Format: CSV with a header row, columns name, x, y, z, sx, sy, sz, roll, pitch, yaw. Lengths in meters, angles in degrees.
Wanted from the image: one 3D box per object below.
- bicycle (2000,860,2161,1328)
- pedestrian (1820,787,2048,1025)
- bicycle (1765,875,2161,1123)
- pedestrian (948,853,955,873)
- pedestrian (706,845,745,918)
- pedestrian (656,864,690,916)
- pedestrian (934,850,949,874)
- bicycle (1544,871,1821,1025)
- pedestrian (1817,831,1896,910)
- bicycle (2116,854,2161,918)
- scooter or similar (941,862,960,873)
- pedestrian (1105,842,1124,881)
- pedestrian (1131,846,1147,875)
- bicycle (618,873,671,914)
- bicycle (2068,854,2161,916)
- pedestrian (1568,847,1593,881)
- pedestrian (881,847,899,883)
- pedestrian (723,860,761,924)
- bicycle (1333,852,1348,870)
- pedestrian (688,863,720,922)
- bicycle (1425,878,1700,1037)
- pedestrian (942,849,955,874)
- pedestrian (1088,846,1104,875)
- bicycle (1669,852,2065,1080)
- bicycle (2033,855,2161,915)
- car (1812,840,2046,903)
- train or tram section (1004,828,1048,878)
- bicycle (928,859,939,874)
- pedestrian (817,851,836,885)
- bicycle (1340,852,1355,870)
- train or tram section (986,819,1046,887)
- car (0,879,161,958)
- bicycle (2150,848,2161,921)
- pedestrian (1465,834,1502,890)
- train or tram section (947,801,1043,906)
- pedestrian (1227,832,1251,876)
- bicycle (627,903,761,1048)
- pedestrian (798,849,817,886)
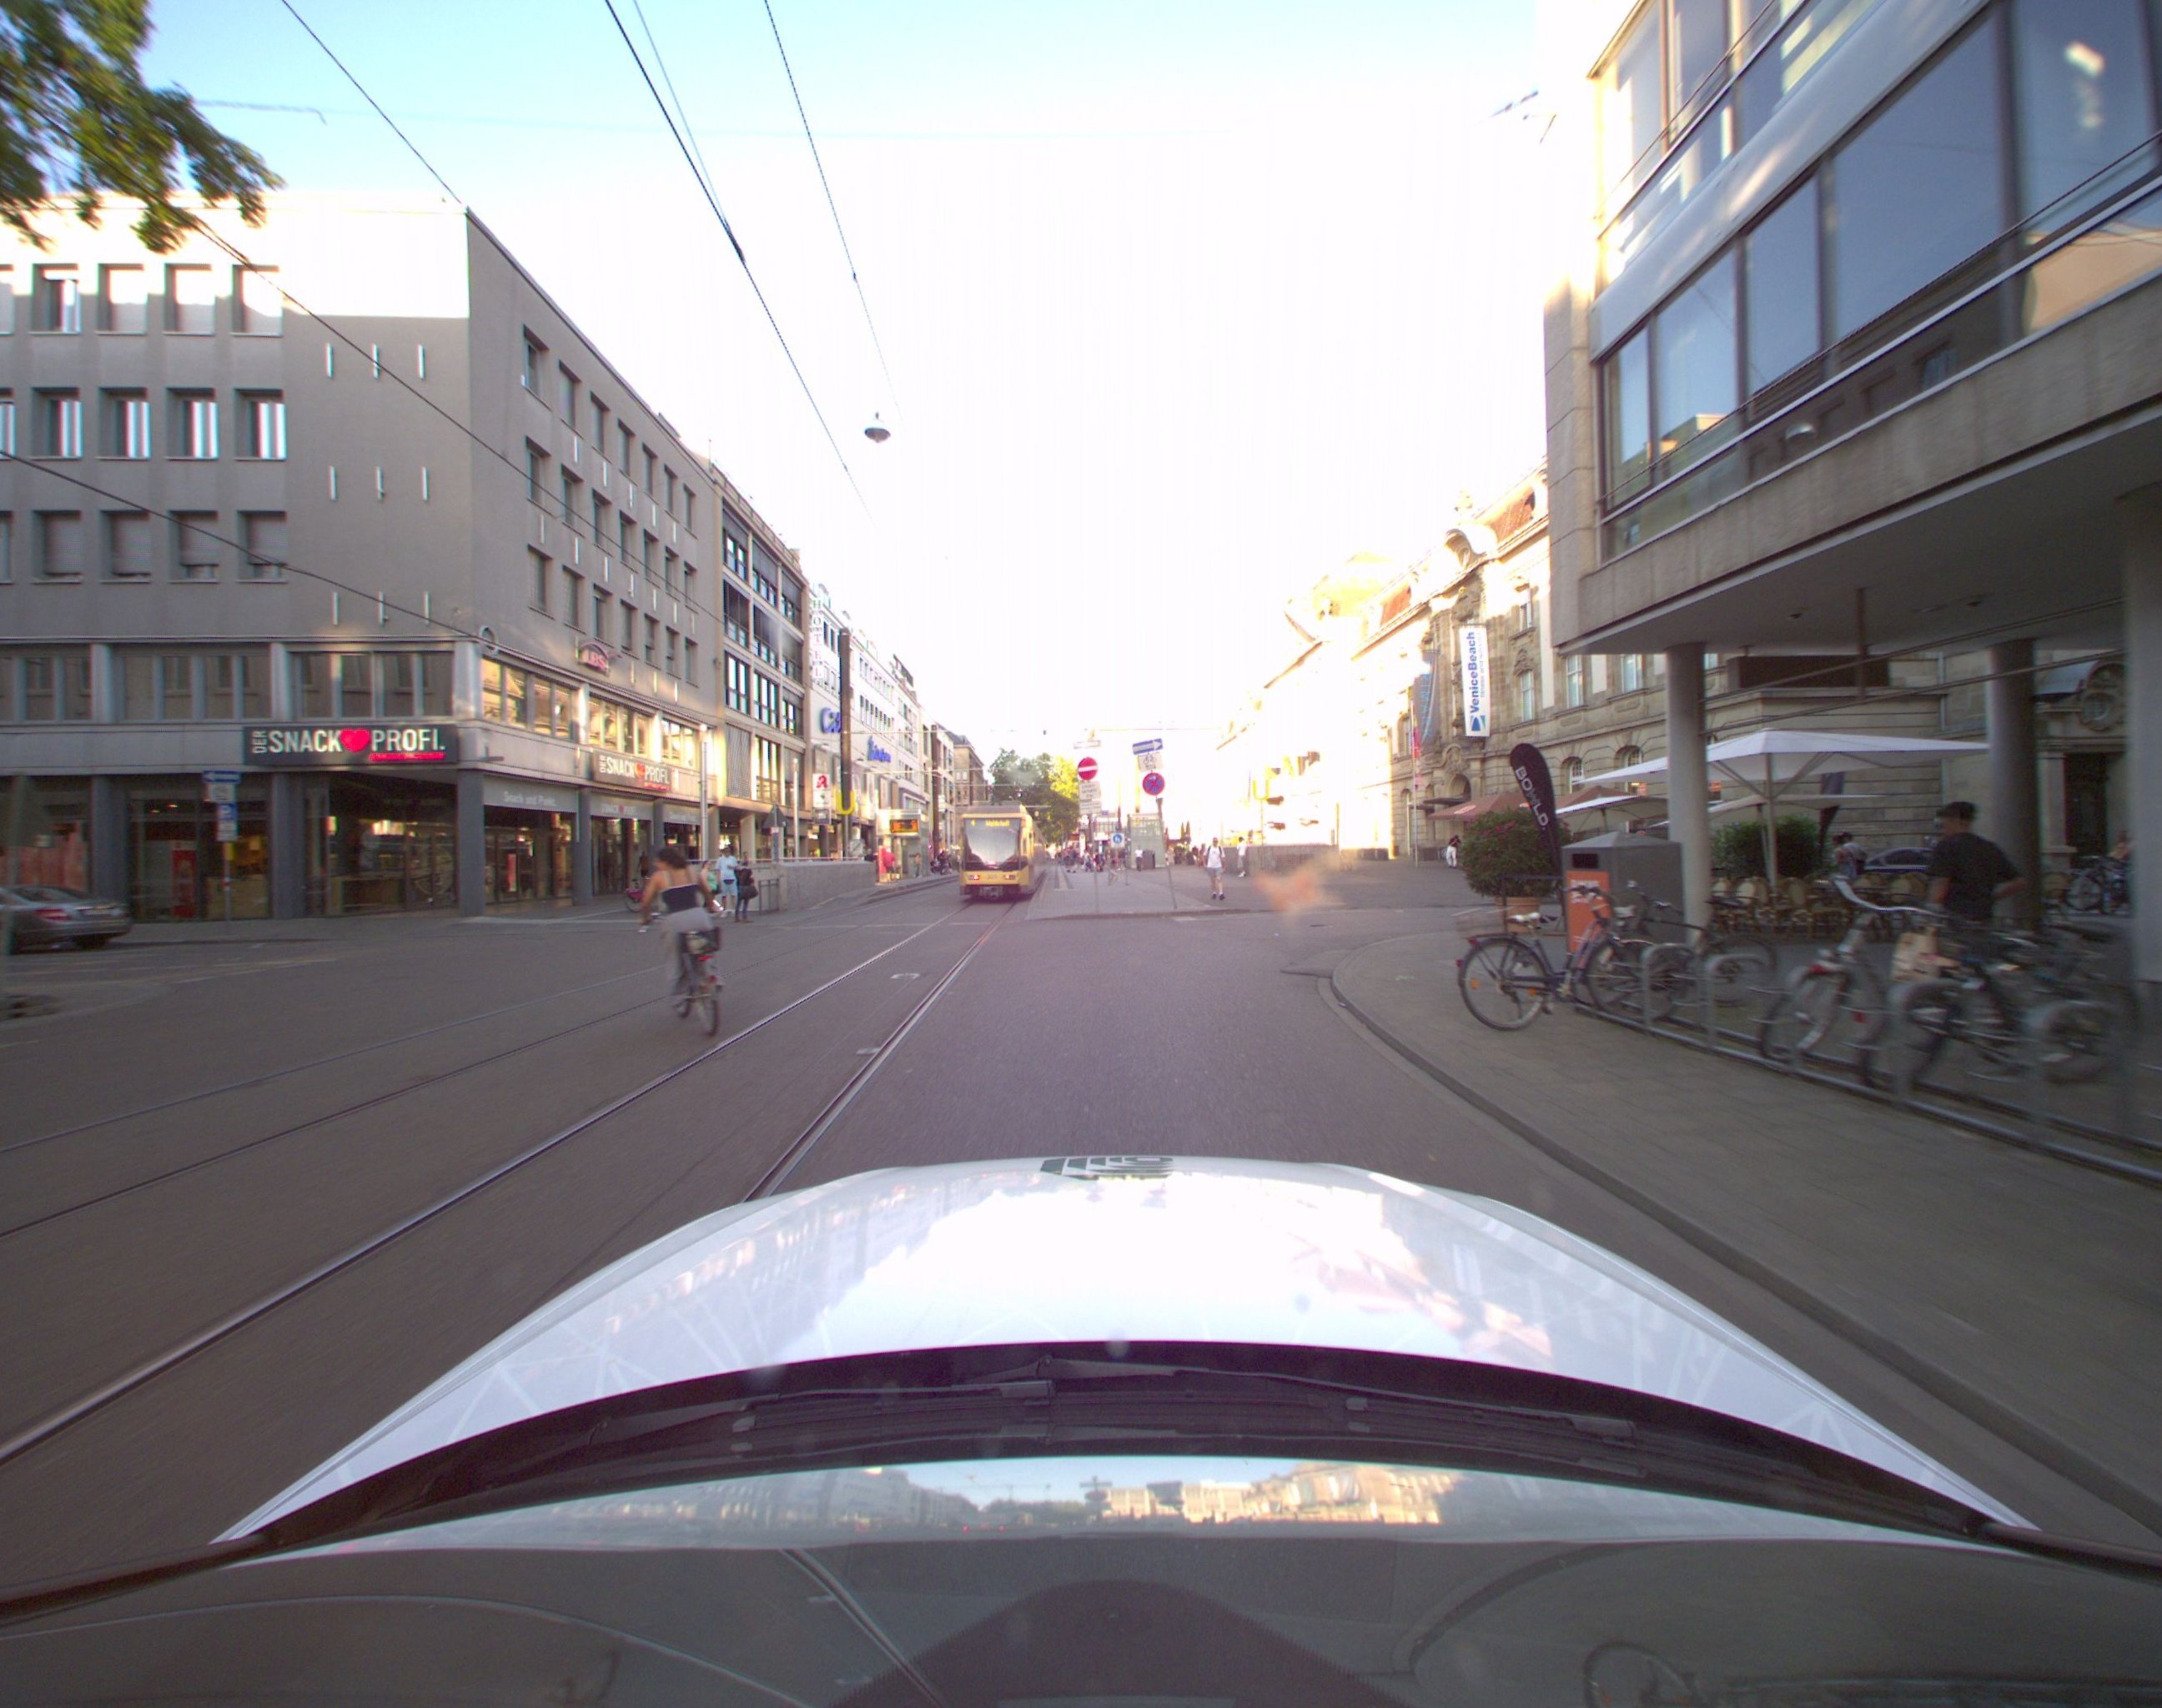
name,x,y,z,sx,sy,sz,roll,pitch,yaw
bicycle,4.081,0.668,2.466,1.913,1.333,0.724,-3,0,-7
pedestrian,6.672,0.383,6.433,0.761,1.719,0.923,-2,-1,-1
bicycle,5.014,0.724,4.496,1.913,1.077,0.761,-3,0,-7
pedestrian,-11.496,0.812,72.174,0.600,1.727,0.606,-1,-1,-9
pedestrian,-9.646,0.727,22.112,0.773,1.926,0.707,-1,-1,-10
pedestrian,-11.615,1.012,23.195,0.548,1.434,0.689,-2,-1,36
pedestrian,-9.822,0.563,57.335,0.712,1.725,0.767,-1,-1,-33
bicycle,4.976,0.748,6.799,1.849,1.109,0.665,-3,0,-5
pedestrian,15.854,0.330,16.666,0.801,1.581,0.873,0,0,-2
bicycle,18.393,0.513,13.524,1.674,1.041,0.560,-1,-2,-2
scooter or similar,-10.333,1.080,64.684,0.552,0.831,1.535,-2,-1,37
pedestrian,1.528,0.334,37.122,0.718,1.725,0.707,-1,-1,-8
pedestrian,3.706,0.394,51.972,0.772,1.823,0.938,-3,0,-5
bicycle,-13.141,1.164,24.575,0.496,1.107,1.802,-1,1,4
bicycle,18.371,0.525,14.177,1.674,1.041,0.560,-1,-2,-2
pedestrian,18.692,0.370,30.488,0.611,1.226,0.703,0,2,12
pedestrian,-9.200,0.540,39.280,0.713,1.698,0.784,-1,-1,-8
pedestrian,-8.364,0.929,20.116,0.682,1.542,0.605,-1,-1,-3
bicycle,12.494,0.332,39.189,0.315,0.867,0.999,-2,0,-3
pedestrian,-9.832,0.988,21.229,0.603,1.494,0.553,-1,-1,-10
bicycle,3.877,0.803,6.632,1.849,1.109,0.665,-3,0,-5
pedestrian,-9.619,0.547,59.052,0.712,1.725,0.768,-1,-1,-31
pedestrian,0.957,0.417,52.009,0.735,1.823,0.815,-1,0,-16
bicycle,4.997,0.653,5.242,1.913,1.222,0.761,-3,0,-7
bicycle,18.340,0.554,14.687,1.674,1.041,0.560,-1,-2,-2
car,20.686,0.416,19.980,4.030,1.409,1.773,-1,-1,-3
train or tram section,-4.013,-0.107,62.395,2.793,3.319,14.497,-1,0,-2
bicycle,-11.479,0.996,63.325,0.435,1.142,1.604,-1,0,-26
pedestrian,-12.181,0.680,38.931,0.632,1.588,0.598,0,-2,-44
bicycle,12.819,0.329,39.204,0.315,0.867,0.999,-2,0,-3
train or tram section,-3.551,-0.074,47.901,2.793,3.319,14.497,-1,0,-2
car,-22.511,1.340,17.088,4.112,1.510,1.797,-1,-1,-5
bicycle,17.441,0.449,12.345,1.802,1.118,0.546,-1,-2,-3
pedestrian,13.426,0.267,27.174,0.805,1.823,0.806,-2,1,3
train or tram section,-3.095,-0.039,33.391,2.793,3.319,14.497,-1,0,-2
pedestrian,7.367,-0.007,37.928,0.906,2.014,0.777,-1,-1,26
bicycle,-3.691,1.047,7.662,0.821,1.073,2.091,1,-1,-34
pedestrian,-12.982,0.628,38.616,0.597,1.725,0.632,-3,-2,45
